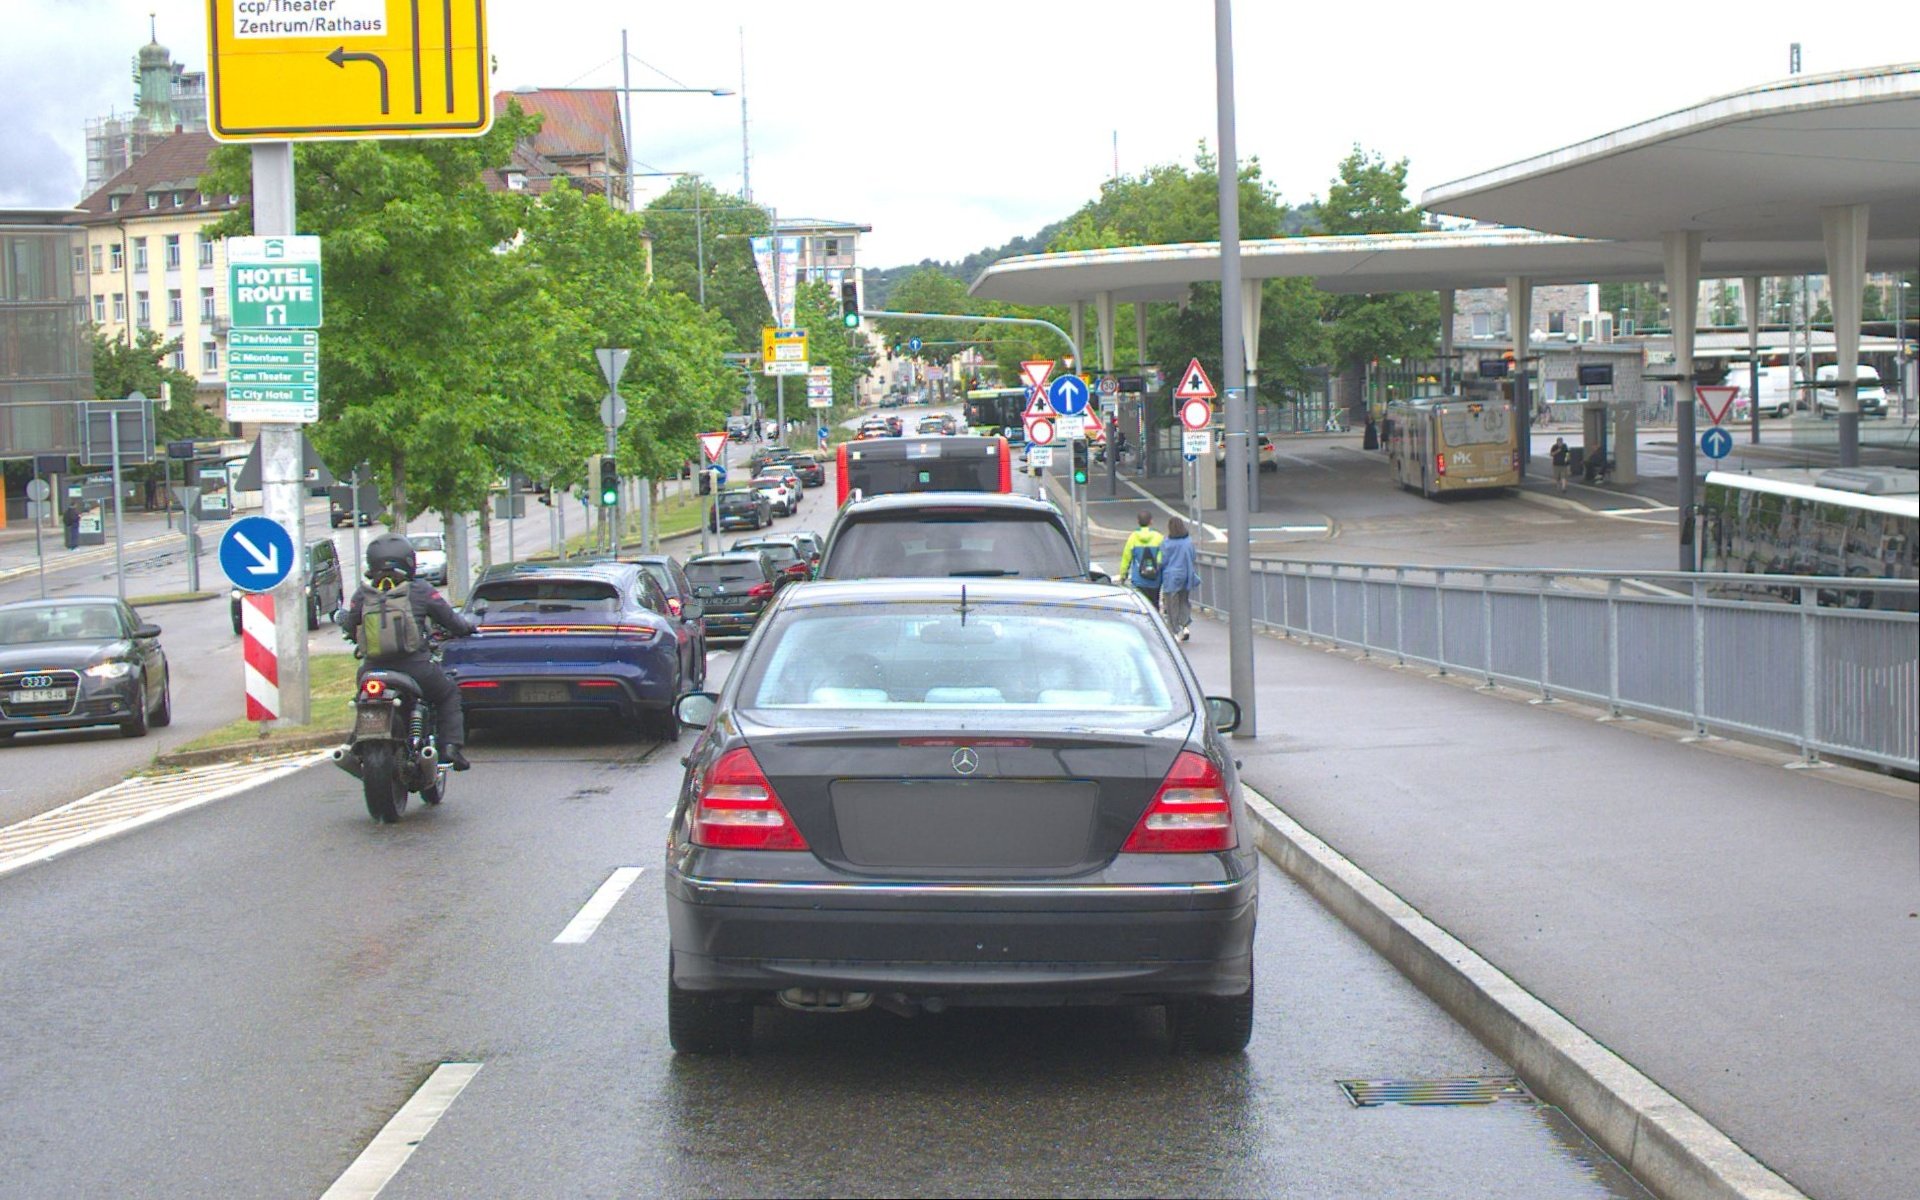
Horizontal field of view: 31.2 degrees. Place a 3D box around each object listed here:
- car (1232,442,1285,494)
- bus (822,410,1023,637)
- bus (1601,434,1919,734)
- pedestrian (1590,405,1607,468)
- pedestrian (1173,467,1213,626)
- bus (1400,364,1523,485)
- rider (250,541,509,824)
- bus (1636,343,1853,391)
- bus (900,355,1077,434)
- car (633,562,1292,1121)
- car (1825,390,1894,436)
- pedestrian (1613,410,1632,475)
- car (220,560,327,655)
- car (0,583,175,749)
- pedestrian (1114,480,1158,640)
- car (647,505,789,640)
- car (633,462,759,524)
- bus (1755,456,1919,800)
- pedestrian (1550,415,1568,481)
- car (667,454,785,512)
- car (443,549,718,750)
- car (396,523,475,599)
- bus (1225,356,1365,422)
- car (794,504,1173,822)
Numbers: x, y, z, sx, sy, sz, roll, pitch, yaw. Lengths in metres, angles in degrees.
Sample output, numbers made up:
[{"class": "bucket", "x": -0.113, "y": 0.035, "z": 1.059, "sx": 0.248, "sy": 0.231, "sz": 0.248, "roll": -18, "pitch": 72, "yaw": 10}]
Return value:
[{"class": "car", "x": 11.873, "y": -5.254, "z": 136.730, "sx": 1.994, "sy": 2.006, "sz": 4.000, "roll": -2, "pitch": 2, "yaw": 5}, {"class": "bus", "x": -0.588, "y": -1.197, "z": 53.477, "sx": 2.827, "sy": 3.178, "sz": 10.310, "roll": 0, "pitch": 1, "yaw": -1}, {"class": "bus", "x": 10.556, "y": -0.357, "z": 44.699, "sx": 2.646, "sy": 3.225, "sz": 7.074, "roll": -2, "pitch": 5, "yaw": -4}, {"class": "pedestrian", "x": 20.711, "y": -5.297, "z": 111.497, "sx": 0.424, "sy": 2.006, "sz": 0.483, "roll": -2, "pitch": 2, "yaw": 2}, {"class": "pedestrian", "x": 2.967, "y": -0.677, "z": 43.838, "sx": 0.424, "sy": 2.007, "sz": 0.483, "roll": -2, "pitch": -1, "yaw": 2}, {"class": "bus", "x": 16.117, "y": -5.578, "z": 111.129, "sx": 3.179, "sy": 3.588, "sz": 10.509, "roll": -1, "pitch": 2, "yaw": 5}, {"class": "rider", "x": -3.222, "y": 0.417, "z": 19.303, "sx": 0.881, "sy": 1.467, "sz": 2.195, "roll": 1, "pitch": 2, "yaw": 6}, {"class": "bus", "x": 38.518, "y": -11.462, "z": 168.930, "sx": 10.167, "sy": 2.006, "sz": 2.170, "roll": -2, "pitch": 2, "yaw": -3}, {"class": "bus", "x": 1.462, "y": -11.046, "z": 184.282, "sx": 3.257, "sy": 3.993, "sz": 10.890, "roll": -6, "pitch": 6, "yaw": -38}, {"class": "car", "x": 0.053, "y": 0.608, "z": 10.828, "sx": 1.706, "sy": 1.415, "sz": 3.726, "roll": 1, "pitch": 1, "yaw": 2}, {"class": "car", "x": 41.003, "y": -8.517, "z": 156.753, "sx": 1.993, "sy": 2.006, "sz": 4.001, "roll": -2, "pitch": 3, "yaw": -1}, {"class": "pedestrian", "x": 20.818, "y": -4.940, "z": 108.028, "sx": 0.424, "sy": 2.007, "sz": 0.483, "roll": -2, "pitch": -1, "yaw": 2}, {"class": "car", "x": -15.379, "y": 0.162, "z": 77.165, "sx": 1.993, "sy": 2.007, "sz": 4.203, "roll": -2, "pitch": 0, "yaw": -7}, {"class": "car", "x": -9.151, "y": 0.659, "z": 34.955, "sx": 1.832, "sy": 1.521, "sz": 4.595, "roll": -2, "pitch": 0, "yaw": -8}, {"class": "pedestrian", "x": 2.245, "y": -0.508, "z": 43.862, "sx": 0.489, "sy": 2.007, "sz": 0.469, "roll": -2, "pitch": -1, "yaw": 2}, {"class": "car", "x": -3.712, "y": -0.468, "z": 53.372, "sx": 1.993, "sy": 1.999, "sz": 4.001, "roll": 0, "pitch": 2, "yaw": -1}, {"class": "car", "x": -9.006, "y": -3.665, "z": 117.669, "sx": 3.987, "sy": 2.006, "sz": 2.000, "roll": -2, "pitch": 2, "yaw": 4}, {"class": "bus", "x": 11.058, "y": 0.226, "z": 37.601, "sx": 2.646, "sy": 3.225, "sz": 7.074, "roll": -2, "pitch": 5, "yaw": -4}, {"class": "pedestrian", "x": 18.376, "y": -4.669, "z": 105.482, "sx": 0.424, "sy": 2.006, "sz": 0.483, "roll": -2, "pitch": 2, "yaw": 2}, {"class": "car", "x": -8.521, "y": -4.266, "z": 125.241, "sx": 3.987, "sy": 2.006, "sz": 2.000, "roll": -2, "pitch": 2, "yaw": 4}, {"class": "car", "x": -2.953, "y": 0.337, "z": 27.459, "sx": 1.760, "sy": 1.431, "sz": 4.000, "roll": 0, "pitch": 2, "yaw": 0}, {"class": "car", "x": -14.507, "y": -1.062, "z": 95.298, "sx": 1.993, "sy": 2.007, "sz": 4.203, "roll": -2, "pitch": 0, "yaw": -7}, {"class": "bus", "x": 18.477, "y": -11.632, "z": 189.991, "sx": 7.197, "sy": 3.384, "sz": 3.083, "roll": -2, "pitch": 3, "yaw": -4}, {"class": "car", "x": 0.244, "y": 0.278, "z": 20.286, "sx": 1.827, "sy": 1.681, "sz": 3.999, "roll": 0, "pitch": 2, "yaw": 6}]
